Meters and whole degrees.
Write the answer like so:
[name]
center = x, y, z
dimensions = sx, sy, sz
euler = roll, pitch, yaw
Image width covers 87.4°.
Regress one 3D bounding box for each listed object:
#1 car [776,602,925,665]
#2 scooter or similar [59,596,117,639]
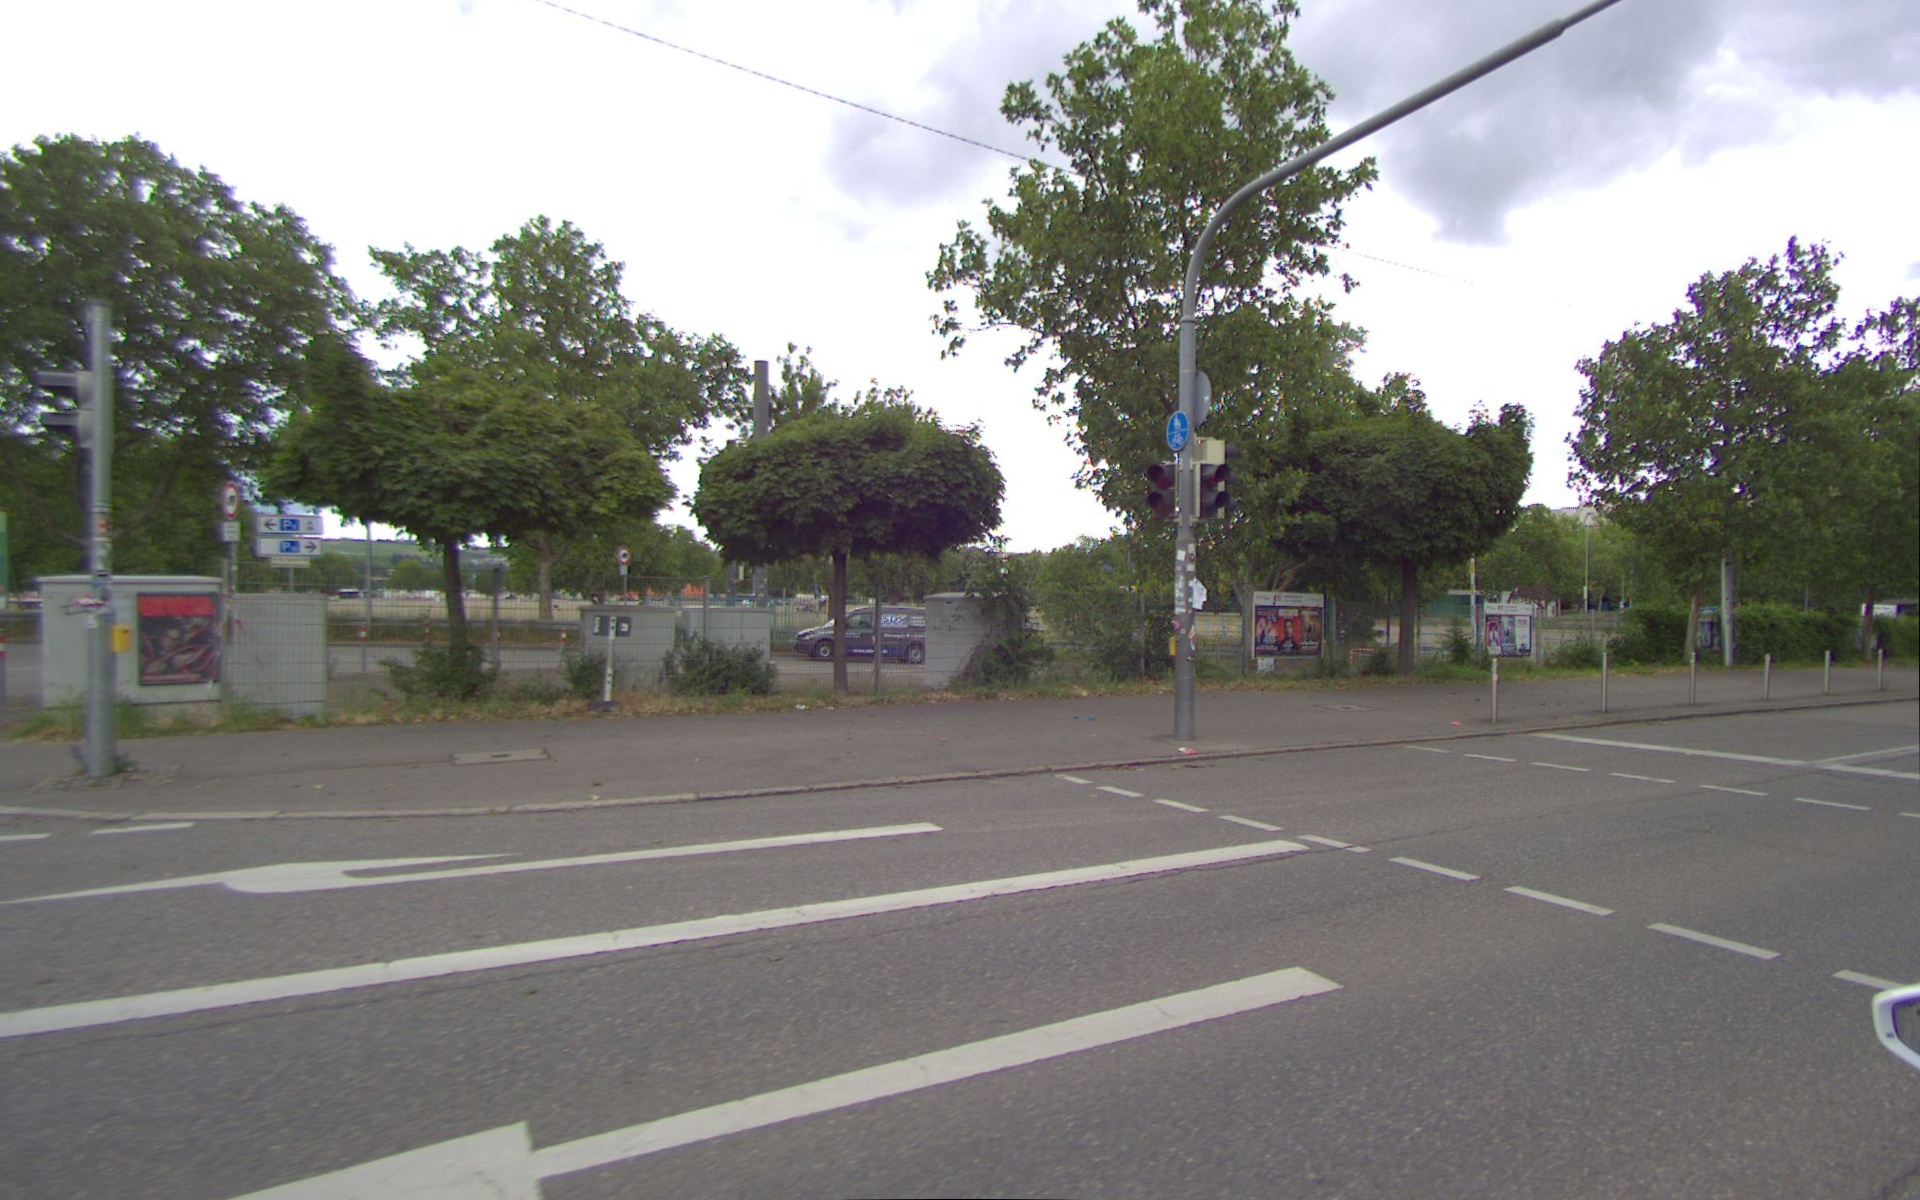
[car]
center = -3.583, 1.088, 32.589
dimensions = 4.518, 1.860, 1.880
euler = 2, 1, -17
[scooter or similar]
center = -25.393, 0.506, 29.265
dimensions = 1.201, 1.237, 0.414
euler = 1, 1, -19
